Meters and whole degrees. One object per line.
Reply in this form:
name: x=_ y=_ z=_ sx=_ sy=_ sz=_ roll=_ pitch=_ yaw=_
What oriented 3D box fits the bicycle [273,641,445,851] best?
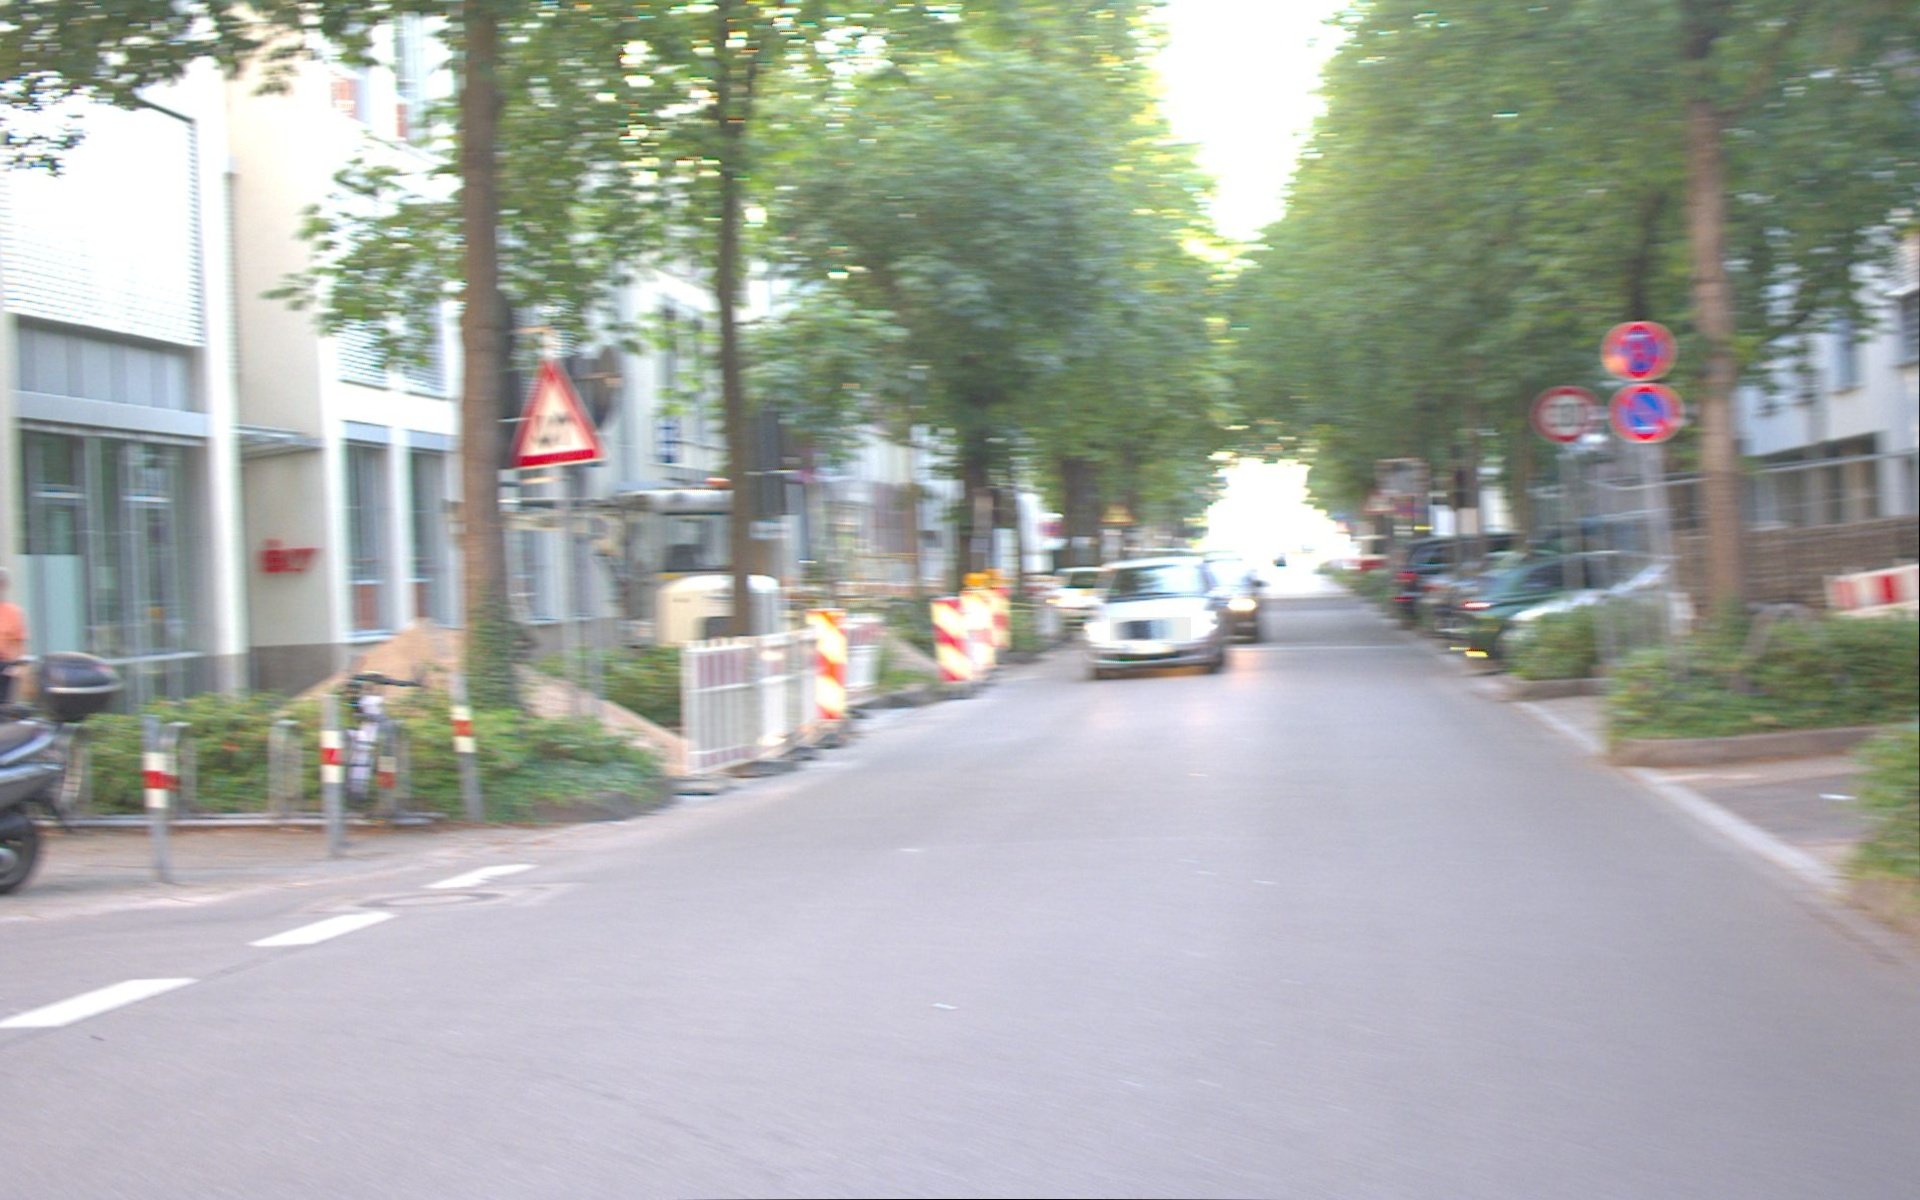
bicycle: x=-3.700 y=0.874 z=21.304 sx=0.683 sy=1.148 sz=1.981 roll=-2 pitch=1 yaw=0

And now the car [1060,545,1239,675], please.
car: x=2.667 y=0.109 z=47.504 sx=2.010 sy=1.607 sz=4.118 roll=-2 pitch=1 yaw=9

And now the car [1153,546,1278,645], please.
car: x=4.759 y=-0.118 z=64.645 sx=1.949 sy=1.708 sz=4.702 roll=-2 pitch=1 yaw=0

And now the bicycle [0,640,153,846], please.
bicycle: x=-5.729 y=0.872 z=21.475 sx=0.683 sy=1.148 sz=1.980 roll=-2 pitch=1 yaw=6

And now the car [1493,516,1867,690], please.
car: x=8.089 y=0.023 z=38.953 sx=3.988 sy=1.798 sz=1.999 roll=-2 pitch=1 yaw=9

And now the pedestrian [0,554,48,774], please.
pedestrian: x=-7.586 y=0.494 z=26.722 sx=0.739 sy=1.684 sz=0.607 roll=-2 pitch=1 yaw=7

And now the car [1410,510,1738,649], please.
car: x=9.322 y=-0.326 z=52.494 sx=4.739 sy=2.007 sz=2.000 roll=-1 pitch=1 yaw=5

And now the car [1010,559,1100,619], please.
car: x=2.191 y=-0.283 z=80.335 sx=1.993 sy=1.284 sz=4.000 roll=-2 pitch=1 yaw=1

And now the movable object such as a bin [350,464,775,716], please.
movable object such as a bin: x=-4.063 y=-0.130 z=35.918 sx=4.046 sy=2.375 sz=2.785 roll=-2 pitch=1 yaw=0

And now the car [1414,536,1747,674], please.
car: x=7.804 y=0.050 z=43.579 sx=3.988 sy=1.579 sz=2.000 roll=-2 pitch=1 yaw=7

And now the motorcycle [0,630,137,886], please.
motorcycle: x=-5.623 y=0.851 z=17.853 sx=2.349 sy=1.277 sz=1.067 roll=-3 pitch=1 yaw=-35
